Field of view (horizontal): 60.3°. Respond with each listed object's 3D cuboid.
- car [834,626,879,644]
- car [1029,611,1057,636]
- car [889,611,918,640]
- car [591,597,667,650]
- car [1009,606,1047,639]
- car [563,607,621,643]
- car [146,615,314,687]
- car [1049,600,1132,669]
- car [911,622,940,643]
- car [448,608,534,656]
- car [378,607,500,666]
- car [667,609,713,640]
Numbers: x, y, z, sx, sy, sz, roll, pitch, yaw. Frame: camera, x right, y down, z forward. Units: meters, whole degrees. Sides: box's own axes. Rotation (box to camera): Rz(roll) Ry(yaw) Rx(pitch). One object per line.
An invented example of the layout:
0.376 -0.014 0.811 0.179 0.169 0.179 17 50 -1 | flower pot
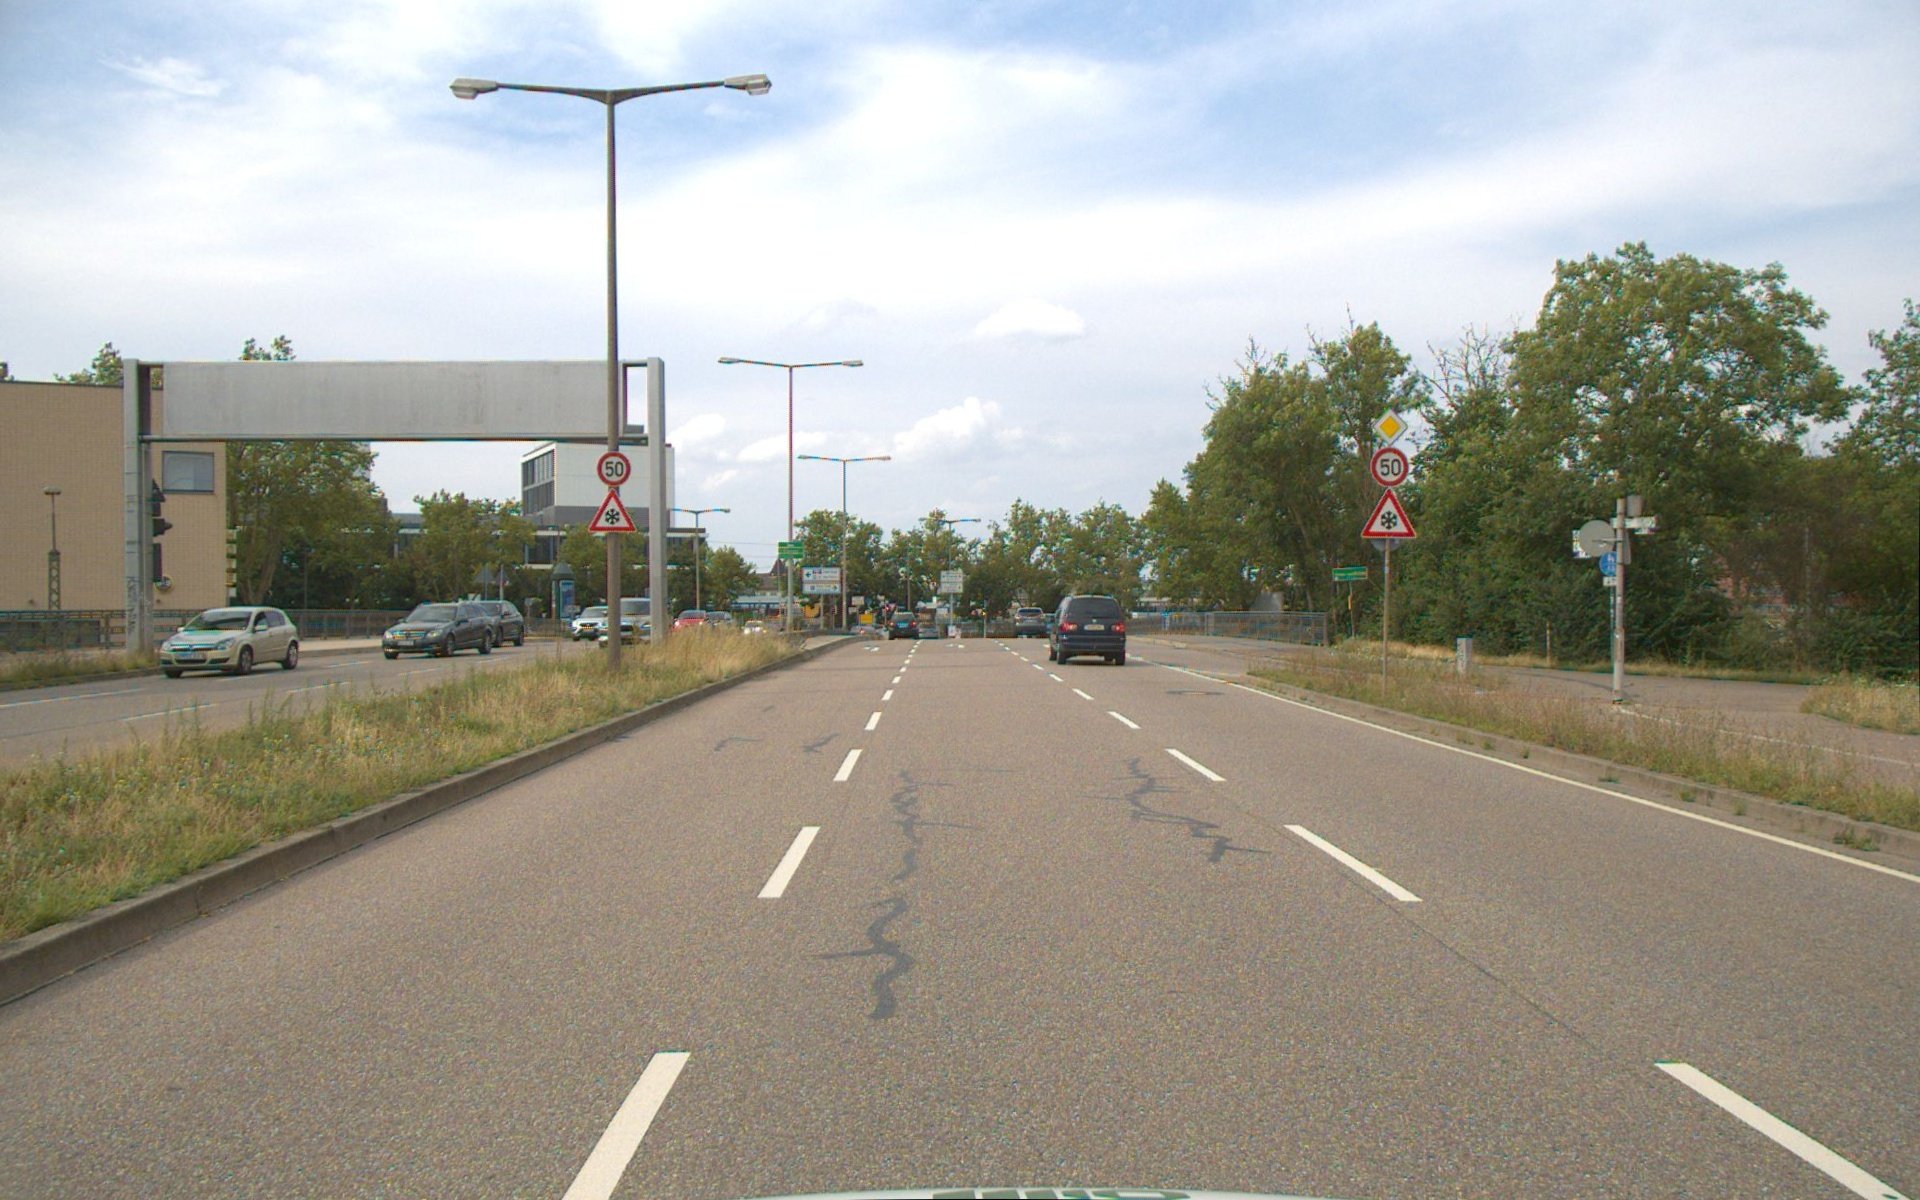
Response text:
-8.559 2.868 136.348 3.569 1.443 1.725 0 0 43 | car
5.248 1.469 104.517 1.476 1.472 3.139 1 0 -2 | car
-3.399 1.512 98.958 1.696 1.682 4.113 0 0 -2 | car
-9.951 0.699 49.947 1.660 1.512 3.858 0 0 -3 | car
3.544 1.161 87.025 1.696 1.682 4.113 0 0 -2 | car
-16.815 1.133 75.781 1.756 1.551 4.187 -2 -1 -1 | car
-16.140 1.097 36.807 1.631 1.444 4.315 -3 -1 2 | car
3.335 0.852 42.948 1.696 1.682 4.113 0 0 -2 | car
-2.775 2.576 132.418 1.699 1.553 4.105 1 0 -10 | car
-16.488 1.106 58.311 1.756 1.551 4.592 -2 -1 -1 | car
-14.157 0.973 45.206 1.631 1.450 4.520 -2 -1 3 | car
-13.869 1.254 85.216 1.756 1.467 3.796 -2 -1 -1 | car
